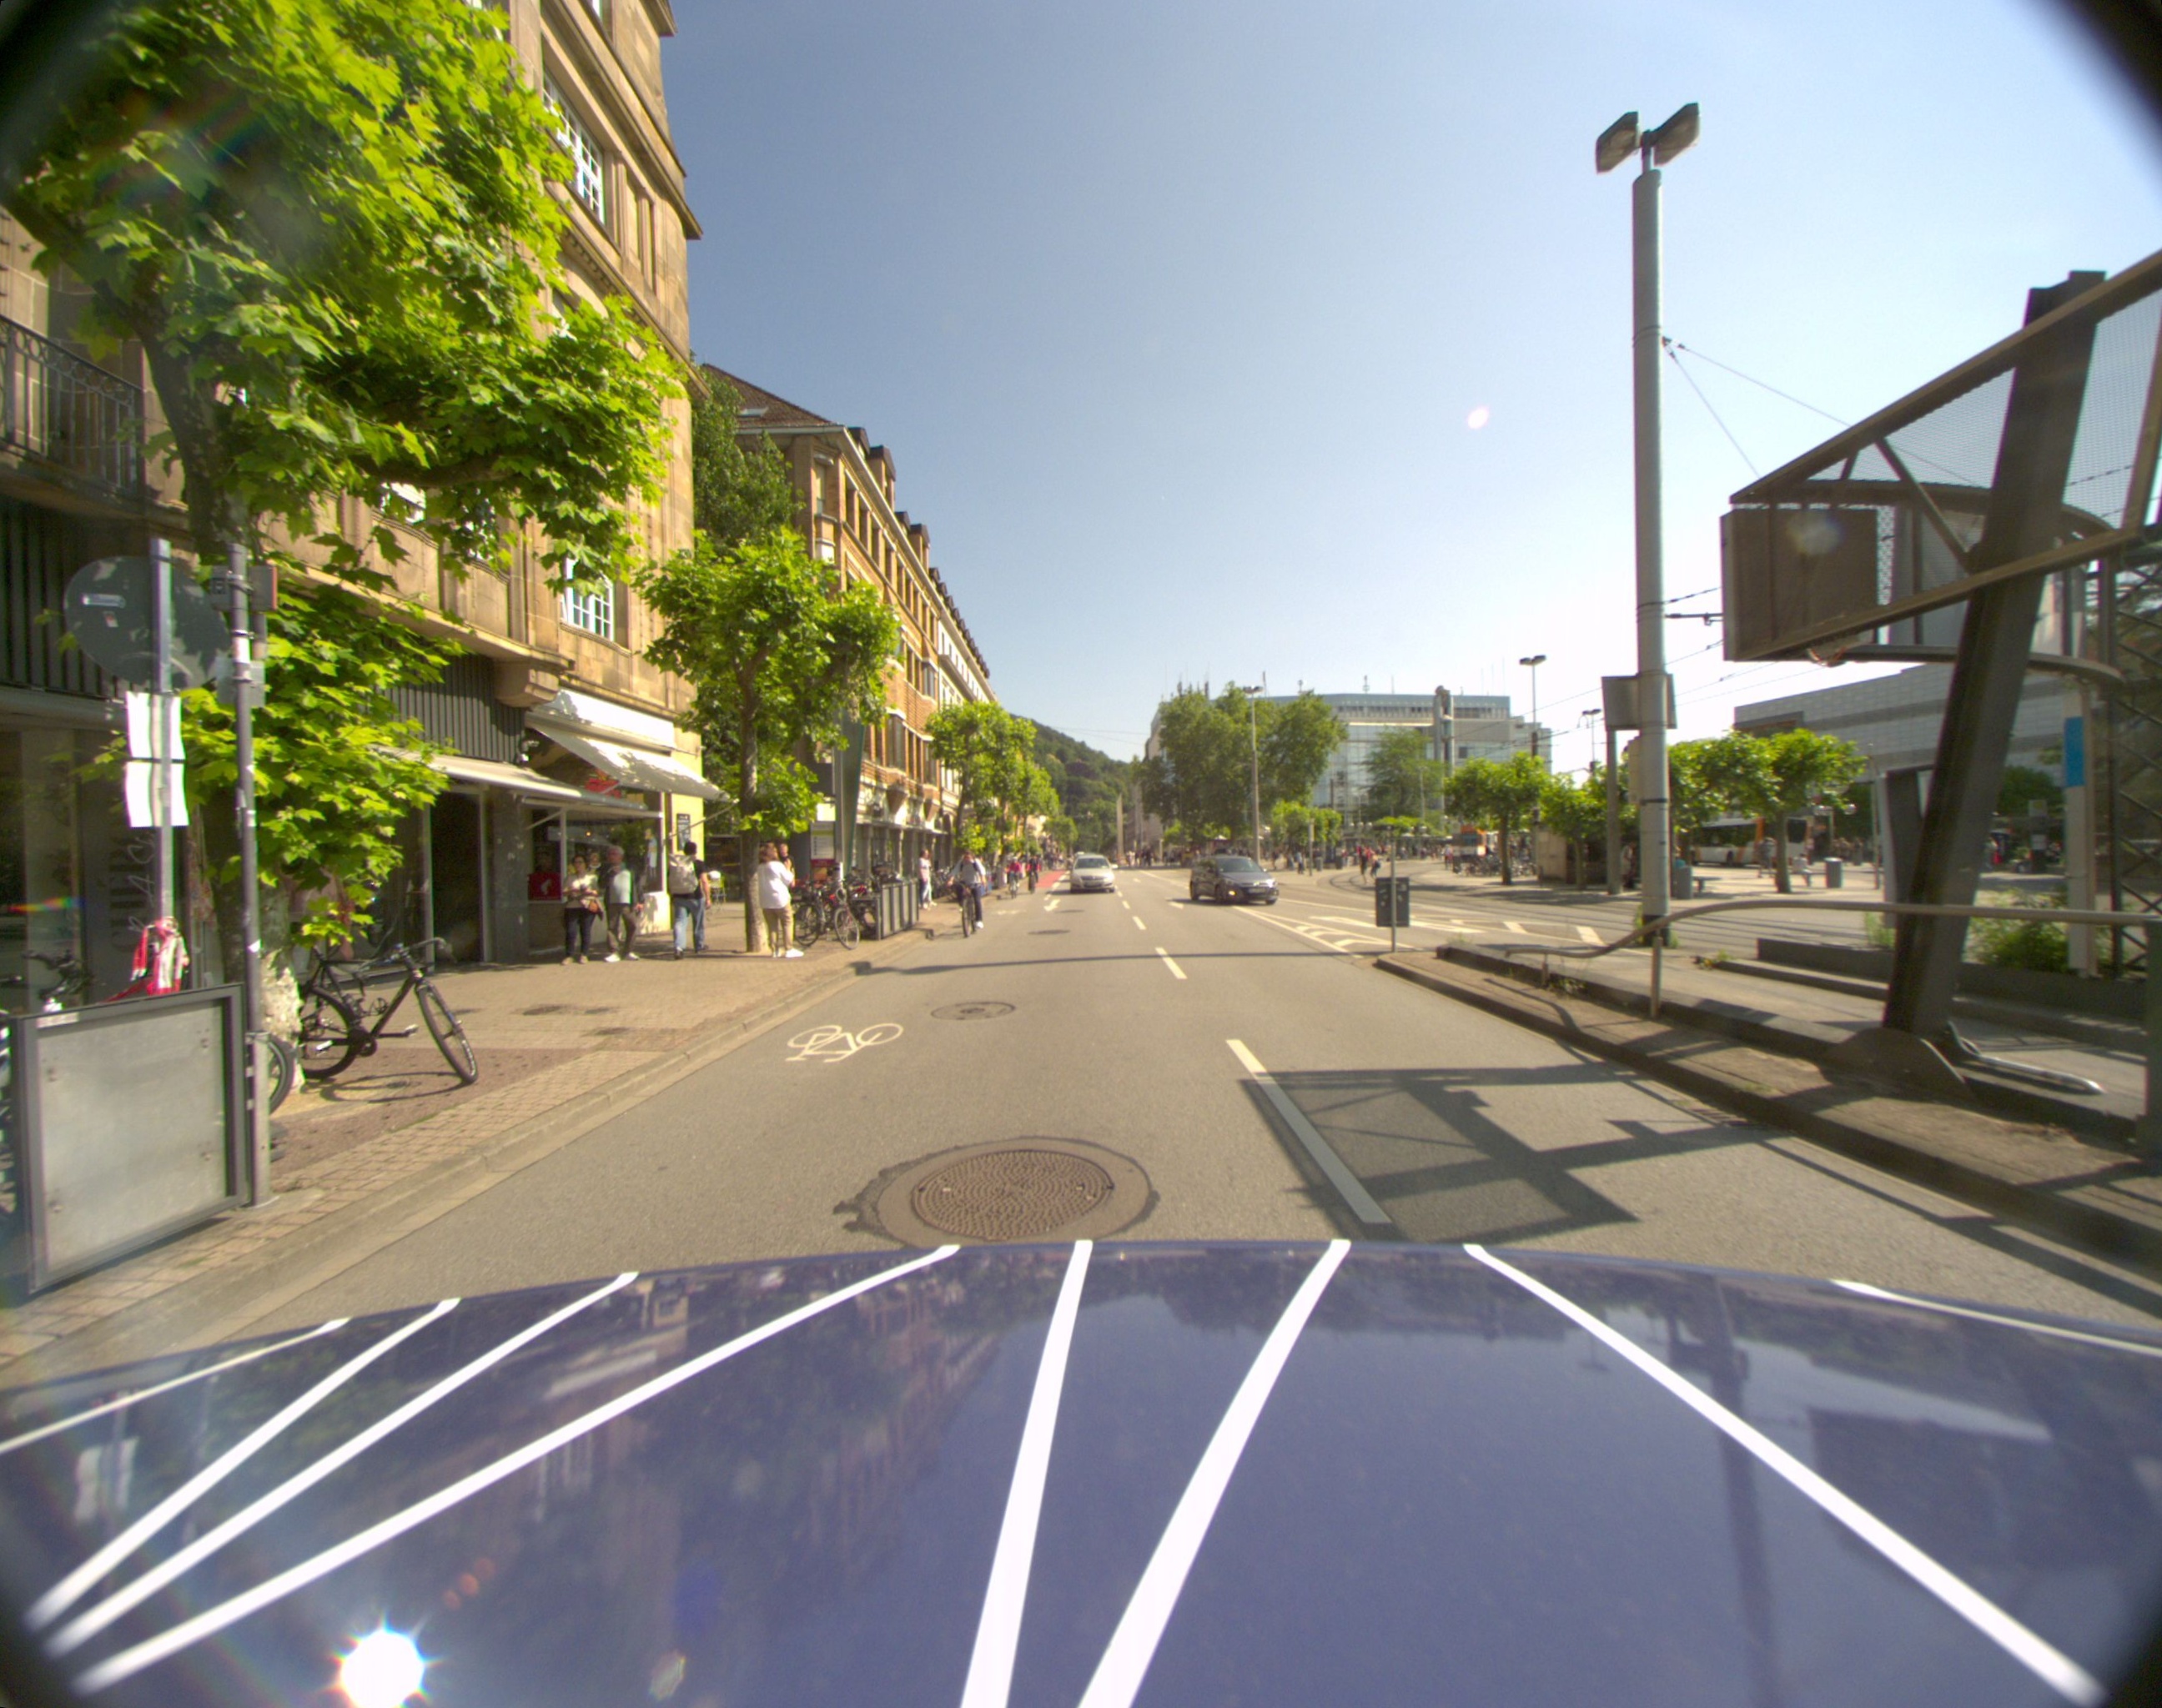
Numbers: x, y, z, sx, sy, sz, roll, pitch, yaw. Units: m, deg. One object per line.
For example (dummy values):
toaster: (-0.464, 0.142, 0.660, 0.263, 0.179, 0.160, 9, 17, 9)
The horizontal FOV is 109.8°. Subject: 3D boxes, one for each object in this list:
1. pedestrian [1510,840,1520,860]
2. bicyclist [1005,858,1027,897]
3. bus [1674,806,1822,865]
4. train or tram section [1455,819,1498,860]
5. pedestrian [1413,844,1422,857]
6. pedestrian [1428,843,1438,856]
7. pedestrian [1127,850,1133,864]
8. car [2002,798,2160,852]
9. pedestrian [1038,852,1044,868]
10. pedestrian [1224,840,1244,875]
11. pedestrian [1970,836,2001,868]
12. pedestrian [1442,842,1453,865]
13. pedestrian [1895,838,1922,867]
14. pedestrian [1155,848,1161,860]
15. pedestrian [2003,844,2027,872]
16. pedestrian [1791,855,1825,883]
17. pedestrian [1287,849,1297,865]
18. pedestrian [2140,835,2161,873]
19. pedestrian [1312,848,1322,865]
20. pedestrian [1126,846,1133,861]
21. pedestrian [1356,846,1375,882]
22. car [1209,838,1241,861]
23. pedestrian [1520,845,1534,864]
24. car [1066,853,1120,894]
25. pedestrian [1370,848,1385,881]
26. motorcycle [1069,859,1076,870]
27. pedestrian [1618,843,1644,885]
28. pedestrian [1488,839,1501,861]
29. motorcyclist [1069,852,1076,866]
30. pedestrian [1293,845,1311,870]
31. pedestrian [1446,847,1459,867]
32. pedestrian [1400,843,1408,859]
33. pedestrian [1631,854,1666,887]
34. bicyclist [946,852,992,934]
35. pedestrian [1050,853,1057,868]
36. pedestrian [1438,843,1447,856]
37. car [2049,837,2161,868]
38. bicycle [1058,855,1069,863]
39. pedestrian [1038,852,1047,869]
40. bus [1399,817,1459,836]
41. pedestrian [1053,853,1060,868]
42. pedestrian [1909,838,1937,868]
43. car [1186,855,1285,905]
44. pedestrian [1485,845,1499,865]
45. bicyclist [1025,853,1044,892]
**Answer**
pedestrian: (37.318, -0.310, 65.275, 0.559, 1.708, 0.465, 2, 0, -22)
bicyclist: (-2.387, 0.861, 28.066, 0.690, 1.388, 0.778, -2, 1, -1)
bus: (44.544, -1.183, 51.466, 3.060, 3.400, 12.476, -2, 0, 19)
train or tram section: (39.745, -1.457, 76.191, 2.615, 3.805, 9.537, -2, 0, 34)
pedestrian: (38.818, -0.398, 87.585, 0.757, 1.464, 0.555, -2, 1, 0)
pedestrian: (40.107, -0.475, 86.564, 0.757, 1.464, 0.555, -2, 1, 0)
pedestrian: (5.753, 0.350, 88.631, 0.575, 1.704, 0.652, -2, 1, -1)
car: (58.898, -1.624, 44.964, 1.958, 2.870, 5.396, -2, 0, -5)
pedestrian: (-4.067, 0.598, 77.586, 0.578, 1.675, 0.775, -2, 1, -3)
pedestrian: (8.890, 0.183, 44.131, 0.897, 1.996, 0.678, 1, 0, -43)
pedestrian: (42.279, -0.079, 35.528, 0.624, 1.457, 0.681, 2, 0, 5)
pedestrian: (26.710, -0.002, 55.385, 0.473, 1.656, 0.521, 2, 0, -22)
pedestrian: (42.479, -0.066, 39.018, 0.625, 1.457, 0.680, 2, 0, -3)
pedestrian: (11.011, 0.050, 108.370, 0.732, 1.660, 0.640, -2, 1, 14)
pedestrian: (42.209, 0.188, 34.340, 0.518, 1.255, 0.453, 2, 0, 5)
pedestrian: (26.044, 0.537, 27.237, 0.635, 0.995, 0.580, 2, 0, 3)
pedestrian: (16.069, 0.226, 57.818, 0.577, 1.226, 0.555, 0, 1, 34)
pedestrian: (37.106, 0.002, 26.086, 0.622, 1.255, 0.582, 2, 0, 9)
pedestrian: (20.188, 0.196, 65.024, 0.727, 1.457, 0.682, 2, 0, 21)
pedestrian: (5.831, -0.083, 91.599, 0.639, 1.737, 0.733, -2, 1, -1)
pedestrian: (13.858, 0.488, 36.993, 0.527, 1.723, 0.586, 2, 0, -30)
car: (13.674, -0.434, 72.027, 1.995, 2.002, 5.074, -2, 0, 22)
pedestrian: (35.205, 0.060, 60.037, 0.626, 1.492, 0.679, 2, 0, -22)
car: (0.473, 0.705, 29.717, 1.918, 1.401, 4.000, -2, 0, 1)
pedestrian: (14.496, 0.506, 37.128, 0.525, 1.600, 0.627, 2, 0, 10)
motorcycle: (-0.922, 1.114, 82.322, 0.736, 1.086, 1.898, -2, 0, 1)
pedestrian: (21.210, 0.380, 29.305, 0.577, 1.600, 0.602, 2, 0, -28)
pedestrian: (35.298, -0.328, 64.800, 0.626, 1.784, 0.679, 2, 0, -22)
motorcyclist: (-0.942, 0.549, 82.404, 0.736, 1.446, 0.707, -2, 1, 1)
pedestrian: (14.864, 0.212, 51.125, 0.895, 1.649, 0.680, -1, 1, -9)
pedestrian: (26.797, 0.217, 54.817, 0.626, 1.457, 0.552, 2, 0, -22)
pedestrian: (31.408, -0.295, 73.818, 0.477, 1.540, 0.451, -4, 3, -26)
pedestrian: (20.687, 0.593, 27.700, 0.677, 1.164, 0.752, 2, 0, -6)
bicyclist: (-2.248, 0.767, 15.335, 0.750, 1.567, 0.778, -2, 1, -1)
pedestrian: (-3.081, 0.715, 85.495, 0.606, 1.726, 0.647, -3, 2, -22)
pedestrian: (40.927, -0.546, 85.995, 0.757, 1.464, 0.555, -2, 1, 0)
car: (53.516, -0.092, 39.234, 1.760, 1.499, 3.998, -2, 0, -5)
bicycle: (-2.612, 0.790, 113.569, 1.757, 1.140, 0.592, -1, 1, -2)
pedestrian: (-3.902, 0.660, 76.435, 0.620, 1.675, 0.579, -2, 1, 38)
bus: (56.061, -4.462, 122.141, 12.202, 2.774, 2.384, -3, 1, -32)
pedestrian: (-2.731, 0.717, 84.311, 0.579, 1.675, 0.726, -3, 1, -22)
pedestrian: (42.202, -0.058, 38.101, 0.625, 1.457, 0.680, 2, 0, -5)
car: (4.681, 0.741, 23.599, 1.700, 1.397, 3.996, -1, 0, -9)
pedestrian: (28.851, 0.077, 53.365, 0.682, 1.410, 0.623, 0, 0, -38)
bicyclist: (-1.891, 0.737, 31.201, 0.690, 1.567, 0.778, -2, 1, -3)
